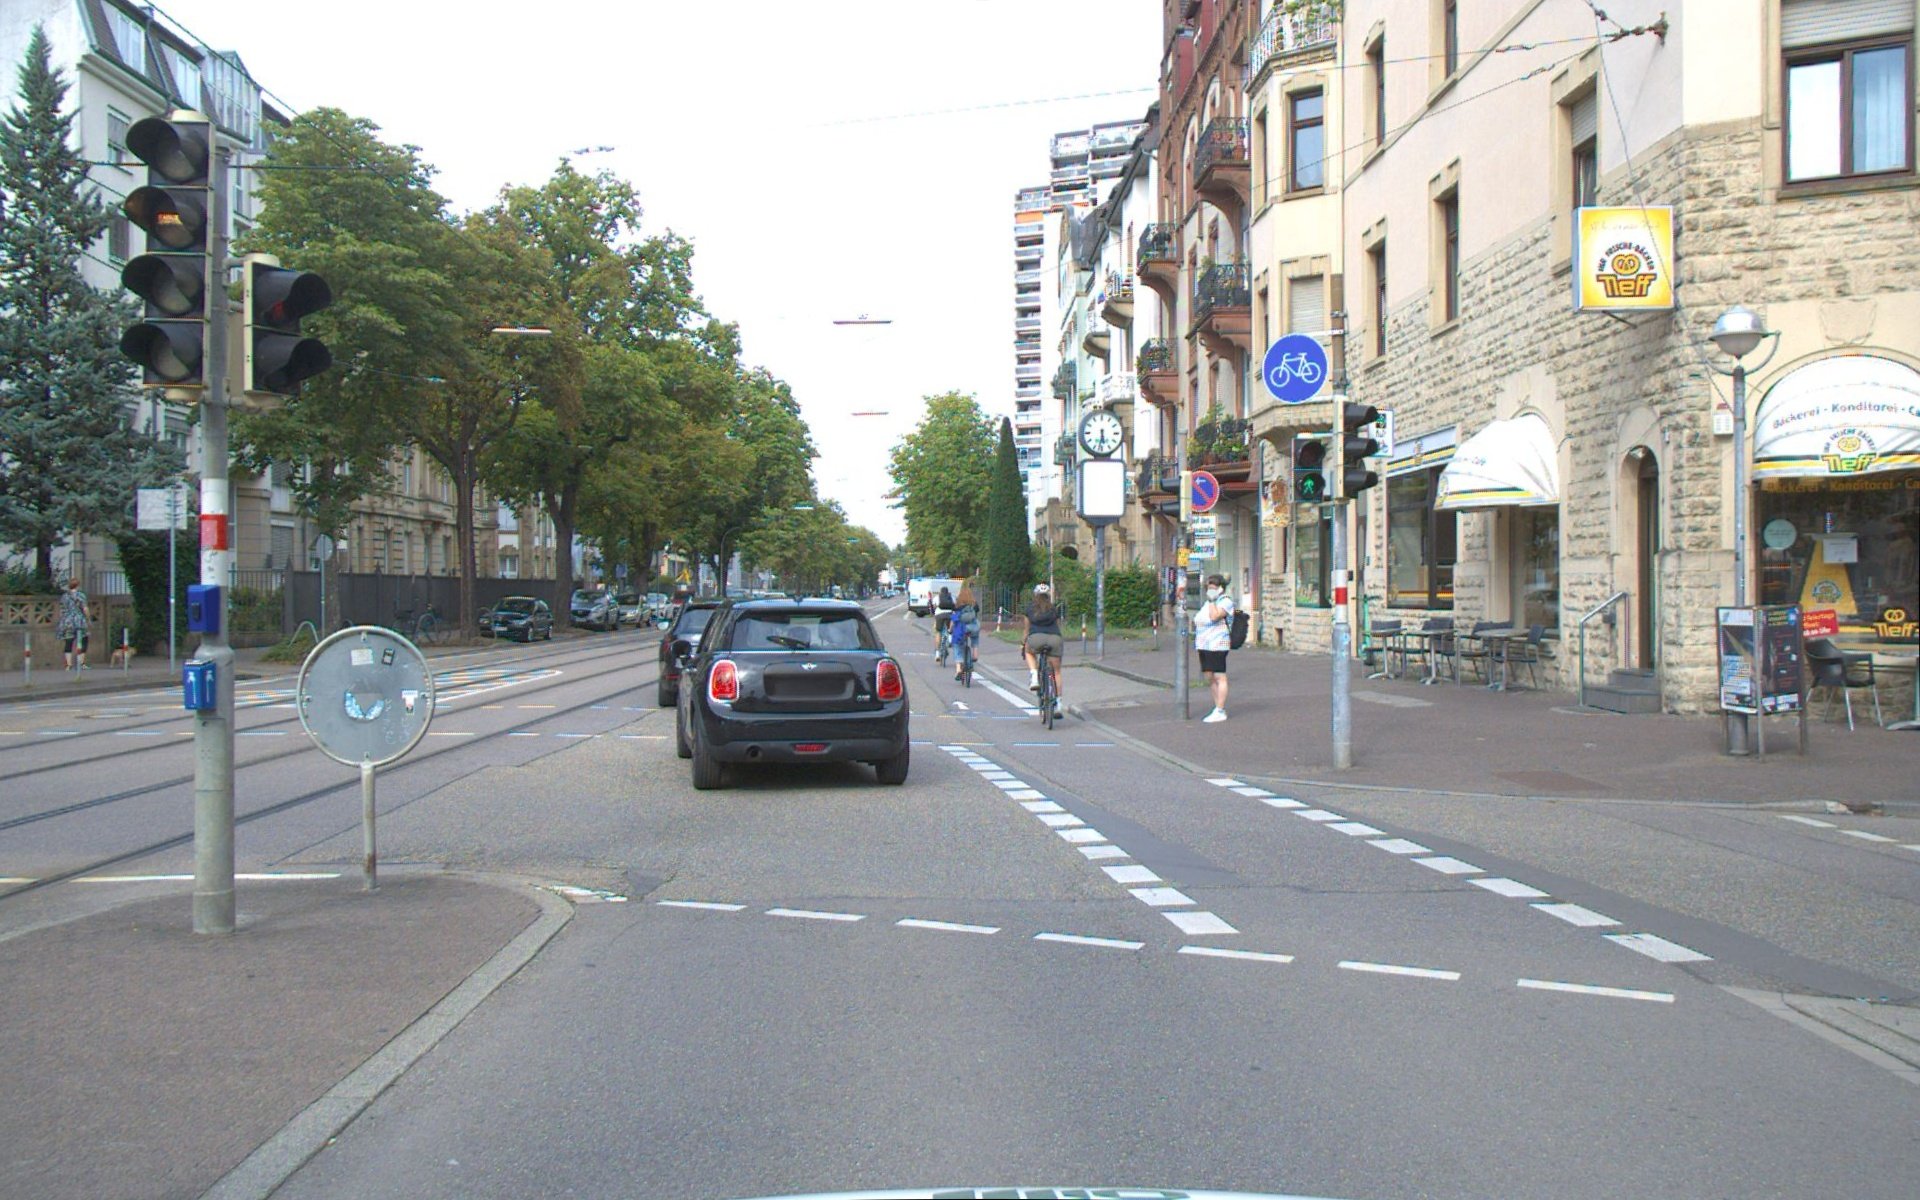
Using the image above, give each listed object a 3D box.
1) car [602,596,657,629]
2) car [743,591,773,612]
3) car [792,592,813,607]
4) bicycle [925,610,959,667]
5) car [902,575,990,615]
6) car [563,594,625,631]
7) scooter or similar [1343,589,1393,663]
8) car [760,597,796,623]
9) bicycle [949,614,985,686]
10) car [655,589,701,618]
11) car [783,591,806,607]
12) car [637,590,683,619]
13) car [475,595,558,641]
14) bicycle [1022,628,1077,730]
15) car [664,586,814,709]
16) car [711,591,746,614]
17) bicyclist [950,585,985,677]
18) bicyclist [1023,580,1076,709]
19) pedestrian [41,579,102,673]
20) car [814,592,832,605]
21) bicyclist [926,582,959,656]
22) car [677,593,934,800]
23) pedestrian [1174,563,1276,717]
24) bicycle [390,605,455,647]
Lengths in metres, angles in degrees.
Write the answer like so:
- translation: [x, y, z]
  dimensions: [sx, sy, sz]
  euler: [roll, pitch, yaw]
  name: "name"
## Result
- translation: [-14.855, 0.549, 74.544]
  dimensions: [1.731, 1.420, 3.999]
  euler: [-1, 0, -2]
  name: "car"
- translation: [-16.226, 0.120, 132.771]
  dimensions: [1.953, 1.579, 4.000]
  euler: [-1, 0, -1]
  name: "car"
- translation: [-17.026, -0.091, 179.213]
  dimensions: [1.953, 1.579, 4.000]
  euler: [-1, 0, -1]
  name: "car"
- translation: [-0.383, 0.832, 36.464]
  dimensions: [0.670, 1.190, 1.697]
  euler: [-1, 1, 1]
  name: "bicycle"
- translation: [-0.827, -0.315, 99.450]
  dimensions: [4.996, 2.312, 2.361]
  euler: [-1, 0, -42]
  name: "car"
- translation: [-14.756, 0.493, 66.871]
  dimensions: [1.731, 1.420, 3.999]
  euler: [-1, 0, -2]
  name: "car"
- translation: [6.932, 0.427, 28.134]
  dimensions: [0.498, 1.209, 1.261]
  euler: [-1, 0, -1]
  name: "scooter or similar"
- translation: [-10.587, 0.583, 96.539]
  dimensions: [1.731, 1.420, 3.999]
  euler: [-1, 0, -2]
  name: "car"
- translation: [0.122, 0.861, 28.993]
  dimensions: [0.586, 1.190, 1.696]
  euler: [-1, 1, -1]
  name: "bicycle"
- translation: [-15.912, 0.199, 93.571]
  dimensions: [1.953, 1.579, 4.000]
  euler: [-1, 0, -1]
  name: "car"
- translation: [-16.872, -0.076, 168.985]
  dimensions: [1.953, 1.579, 4.000]
  euler: [-1, 0, -1]
  name: "car"
- translation: [-15.431, 0.216, 85.180]
  dimensions: [1.731, 1.420, 3.999]
  euler: [-1, 0, -2]
  name: "car"
- translation: [-14.659, 0.576, 54.847]
  dimensions: [1.731, 1.420, 3.999]
  euler: [-1, 0, -2]
  name: "car"
- translation: [1.071, 0.920, 19.830]
  dimensions: [0.602, 1.095, 1.822]
  euler: [-1, 1, 3]
  name: "bicycle"
- translation: [-3.159, 0.597, 23.273]
  dimensions: [1.891, 1.536, 3.991]
  euler: [-1, 0, -9]
  name: "car"
- translation: [-16.307, 0.156, 116.535]
  dimensions: [1.953, 1.579, 4.000]
  euler: [-1, 0, -1]
  name: "car"
- translation: [0.124, 0.526, 29.058]
  dimensions: [0.582, 1.577, 1.013]
  euler: [-1, 0, -1]
  name: "bicyclist"
- translation: [1.068, 0.513, 19.819]
  dimensions: [0.602, 1.498, 0.915]
  euler: [-1, 0, 3]
  name: "bicyclist"
- translation: [-17.354, 0.496, 32.324]
  dimensions: [0.715, 1.815, 0.835]
  euler: [-1, 0, -1]
  name: "pedestrian"
- translation: [-17.331, -0.153, 209.368]
  dimensions: [1.953, 1.579, 4.000]
  euler: [-1, 0, -1]
  name: "car"
- translation: [-0.389, 0.406, 36.417]
  dimensions: [0.670, 1.591, 0.998]
  euler: [-1, 0, 1]
  name: "bicyclist"
- translation: [-1.451, 0.689, 14.067]
  dimensions: [1.721, 1.466, 3.988]
  euler: [-1, 0, -12]
  name: "car"
- translation: [3.071, 0.456, 19.150]
  dimensions: [0.829, 1.703, 0.721]
  euler: [-4, 1, -45]
  name: "pedestrian"
- translation: [-15.383, 0.728, 47.362]
  dimensions: [1.657, 1.138, 0.564]
  euler: [-1, 1, -41]
  name: "bicycle"
